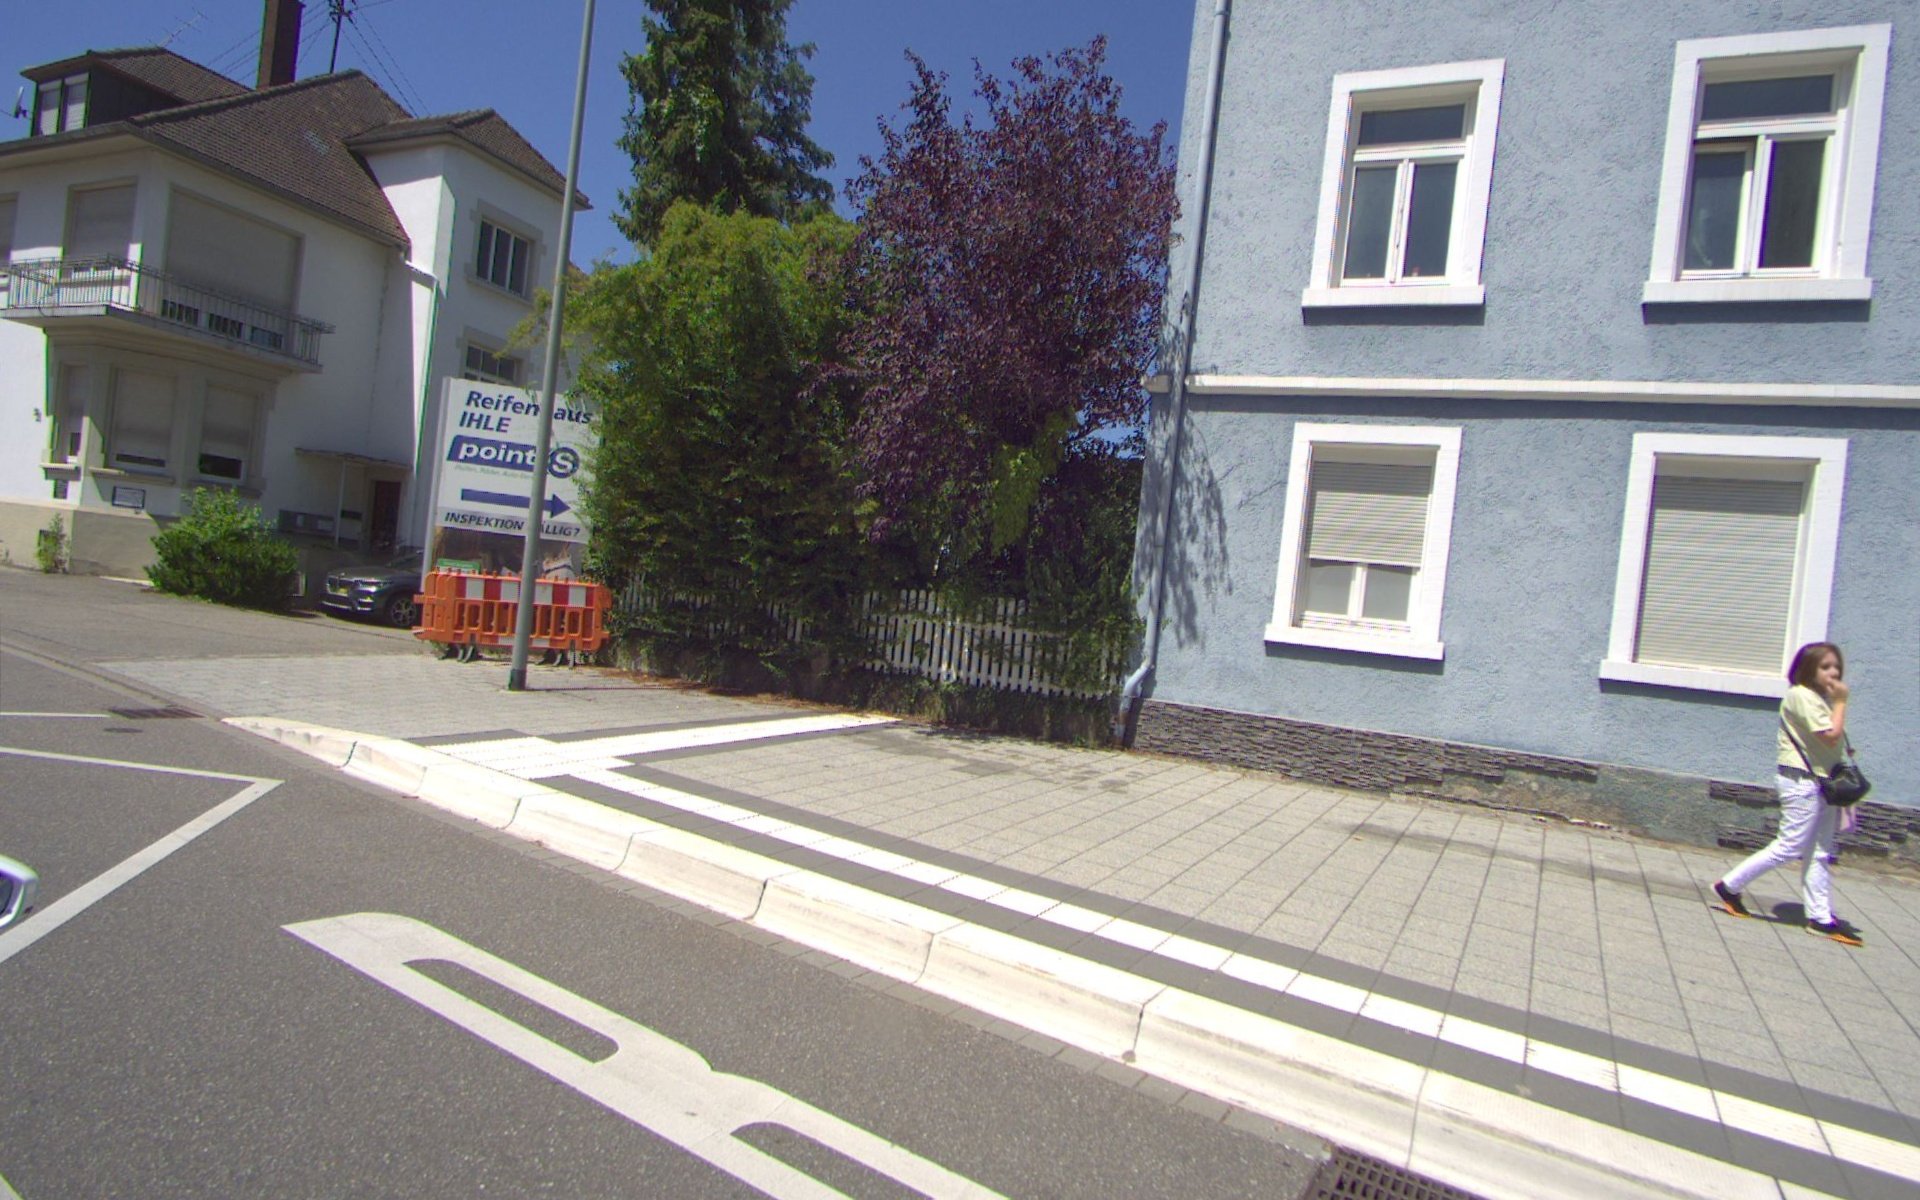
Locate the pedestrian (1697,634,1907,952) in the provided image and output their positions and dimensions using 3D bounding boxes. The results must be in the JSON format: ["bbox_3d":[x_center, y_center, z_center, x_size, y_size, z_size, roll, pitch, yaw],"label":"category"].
[{"bbox_3d":[4.871,1.062,5.850,0.740,1.637,0.612,7,3,41],"label":"pedestrian"}]

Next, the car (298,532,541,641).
[{"bbox_3d":[-10.977,-0.201,20.741,1.766,1.610,4.001,6,-3,27],"label":"car"}]
